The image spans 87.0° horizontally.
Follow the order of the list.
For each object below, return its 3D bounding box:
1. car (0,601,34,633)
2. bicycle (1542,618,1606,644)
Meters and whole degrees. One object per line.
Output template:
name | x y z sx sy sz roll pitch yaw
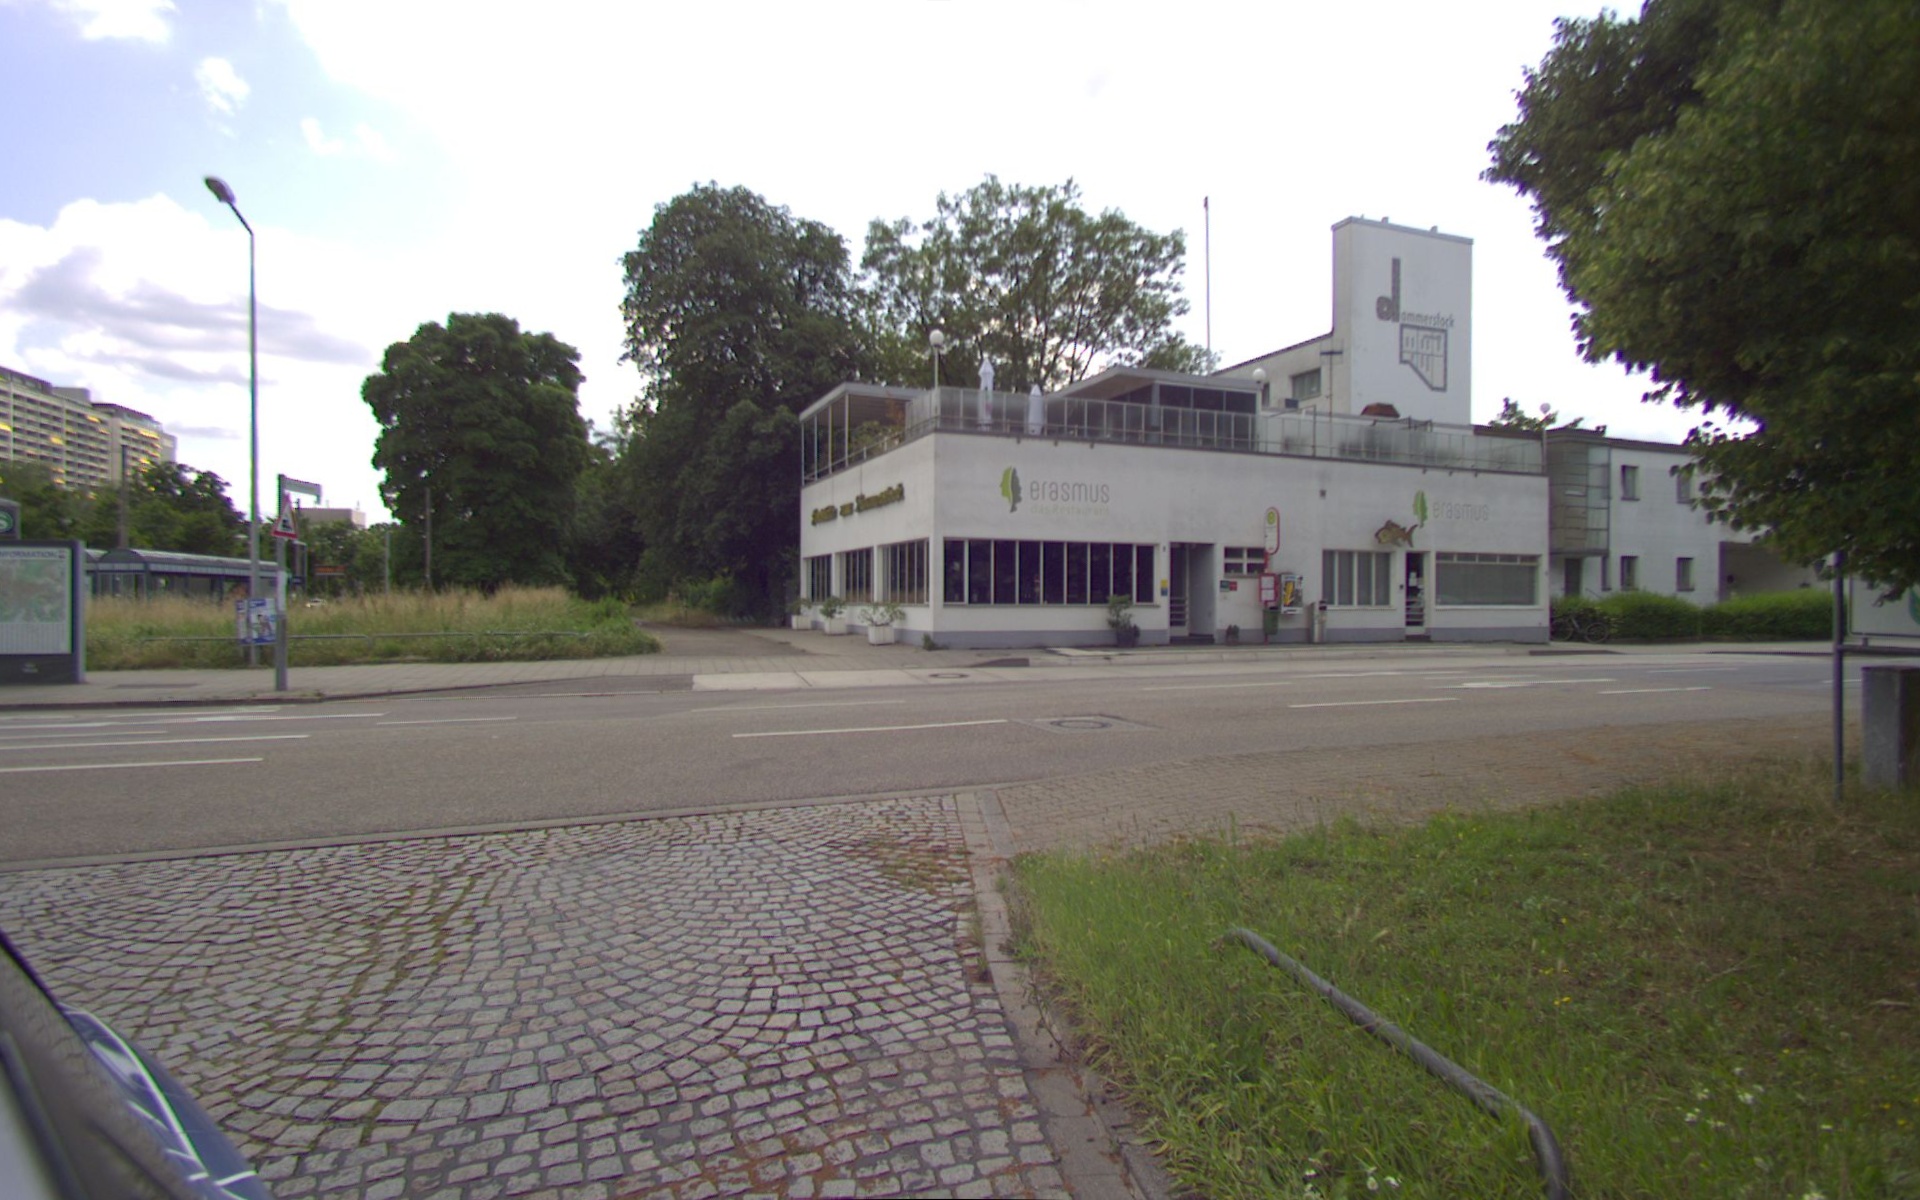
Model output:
car | -55.365 0.981 57.879 1.719 1.799 4.167 1 -1 -14
bicycle | 19.382 0.969 31.979 0.404 0.763 1.678 0 0 -40
